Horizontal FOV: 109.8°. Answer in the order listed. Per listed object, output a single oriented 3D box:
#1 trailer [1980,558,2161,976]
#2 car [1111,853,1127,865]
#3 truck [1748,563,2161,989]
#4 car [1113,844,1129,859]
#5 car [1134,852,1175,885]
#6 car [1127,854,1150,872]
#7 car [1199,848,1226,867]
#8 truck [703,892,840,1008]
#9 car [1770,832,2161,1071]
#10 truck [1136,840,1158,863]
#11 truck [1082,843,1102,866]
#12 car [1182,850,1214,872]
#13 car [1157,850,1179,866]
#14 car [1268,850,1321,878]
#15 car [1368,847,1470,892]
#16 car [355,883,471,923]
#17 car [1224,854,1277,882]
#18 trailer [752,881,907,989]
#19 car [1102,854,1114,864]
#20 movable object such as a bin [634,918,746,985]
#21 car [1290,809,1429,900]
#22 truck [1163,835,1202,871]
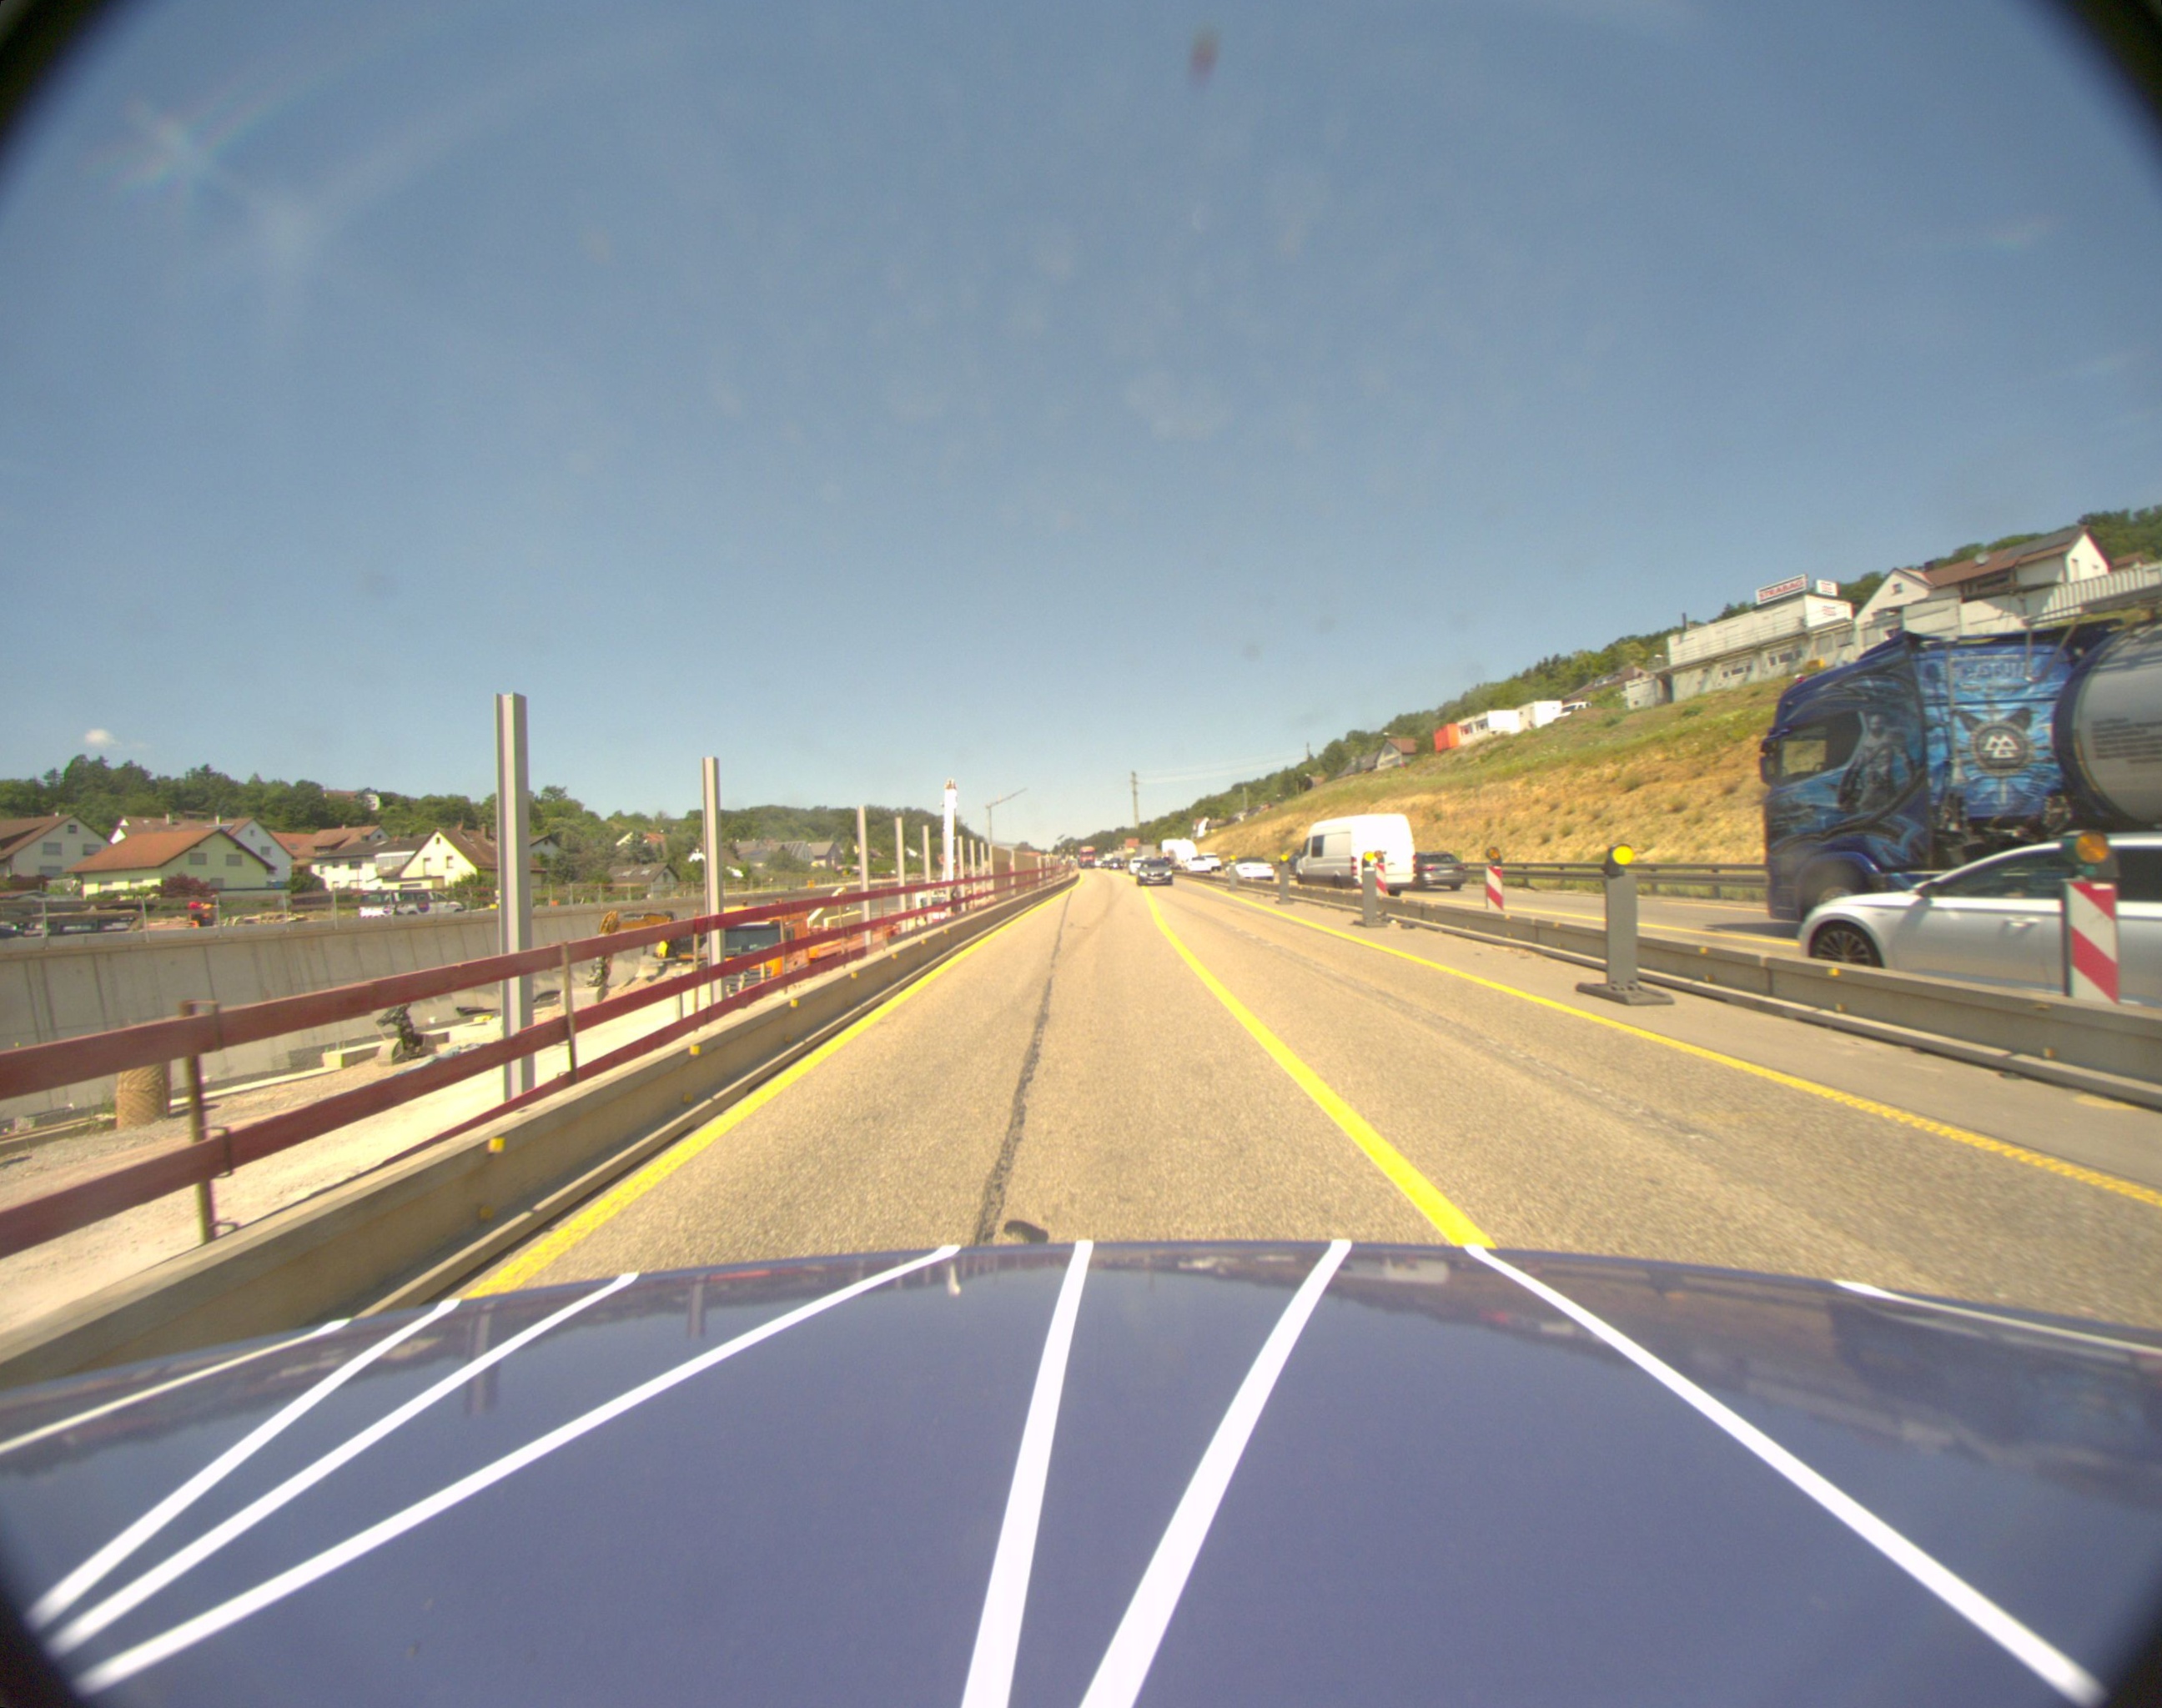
[{"bbox_3d":[10.963,-0.784,2.773,2.605,3.848,11.275,-2,1,4],"label":"trailer"},{"bbox_3d":[5.279,0.681,105.055,1.801,1.542,4.000,-2,-1,-2],"label":"car"},{"bbox_3d":[11.431,-0.788,9.293,2.588,3.954,4.589,-2,1,3],"label":"truck"},{"bbox_3d":[8.478,-0.509,162.833,2.926,2.863,6.696,-2,0,0],"label":"car"},{"bbox_3d":[3.926,0.742,41.240,1.838,1.587,4.390,-2,0,2],"label":"car"},{"bbox_3d":[5.183,0.772,68.918,1.838,1.465,4.390,-2,0,2],"label":"car"},{"bbox_3d":[12.573,0.323,72.839,1.838,1.626,4.389,-2,0,0],"label":"car"},{"bbox_3d":[-10.913,3.261,27.436,2.504,3.385,5.436,-2,1,1],"label":"truck"},{"bbox_3d":[7.933,0.611,5.455,1.837,1.510,4.845,-2,0,5],"label":"car"},{"bbox_3d":[11.806,-0.490,136.868,3.148,4.023,10.210,-2,1,1],"label":"truck"},{"bbox_3d":[2.004,0.007,140.340,3.463,4.023,10.210,-2,1,1],"label":"truck"},{"bbox_3d":[9.282,0.570,60.678,1.838,1.626,4.389,-2,0,0],"label":"car"},{"bbox_3d":[9.493,0.400,83.350,1.838,1.626,4.389,-2,0,0],"label":"car"},{"bbox_3d":[12.274,0.543,44.006,1.838,1.482,4.389,-2,0,1],"label":"car"},{"bbox_3d":[12.420,0.525,28.228,1.838,1.482,4.389,-2,0,1],"label":"car"},{"bbox_3d":[-33.231,2.393,37.998,1.658,1.594,4.605,-2,1,0],"label":"car"},{"bbox_3d":[9.010,0.705,40.761,1.838,1.368,4.389,-2,0,0],"label":"car"},{"bbox_3d":[-10.805,3.232,34.625,2.446,3.333,12.893,-2,1,1],"label":"trailer"},{"bbox_3d":[4.537,0.883,128.641,1.801,1.542,4.000,-2,-1,-2],"label":"car"},{"bbox_3d":[-19.587,4.833,38.332,3.266,2.769,4.001,-2,1,6],"label":"movable object such as a bin"},{"bbox_3d":[9.174,0.015,25.867,2.211,2.614,6.627,-2,0,0],"label":"car"},{"bbox_3d":[12.234,-0.156,93.098,3.115,4.023,13.156,-2,1,1],"label":"truck"}]
